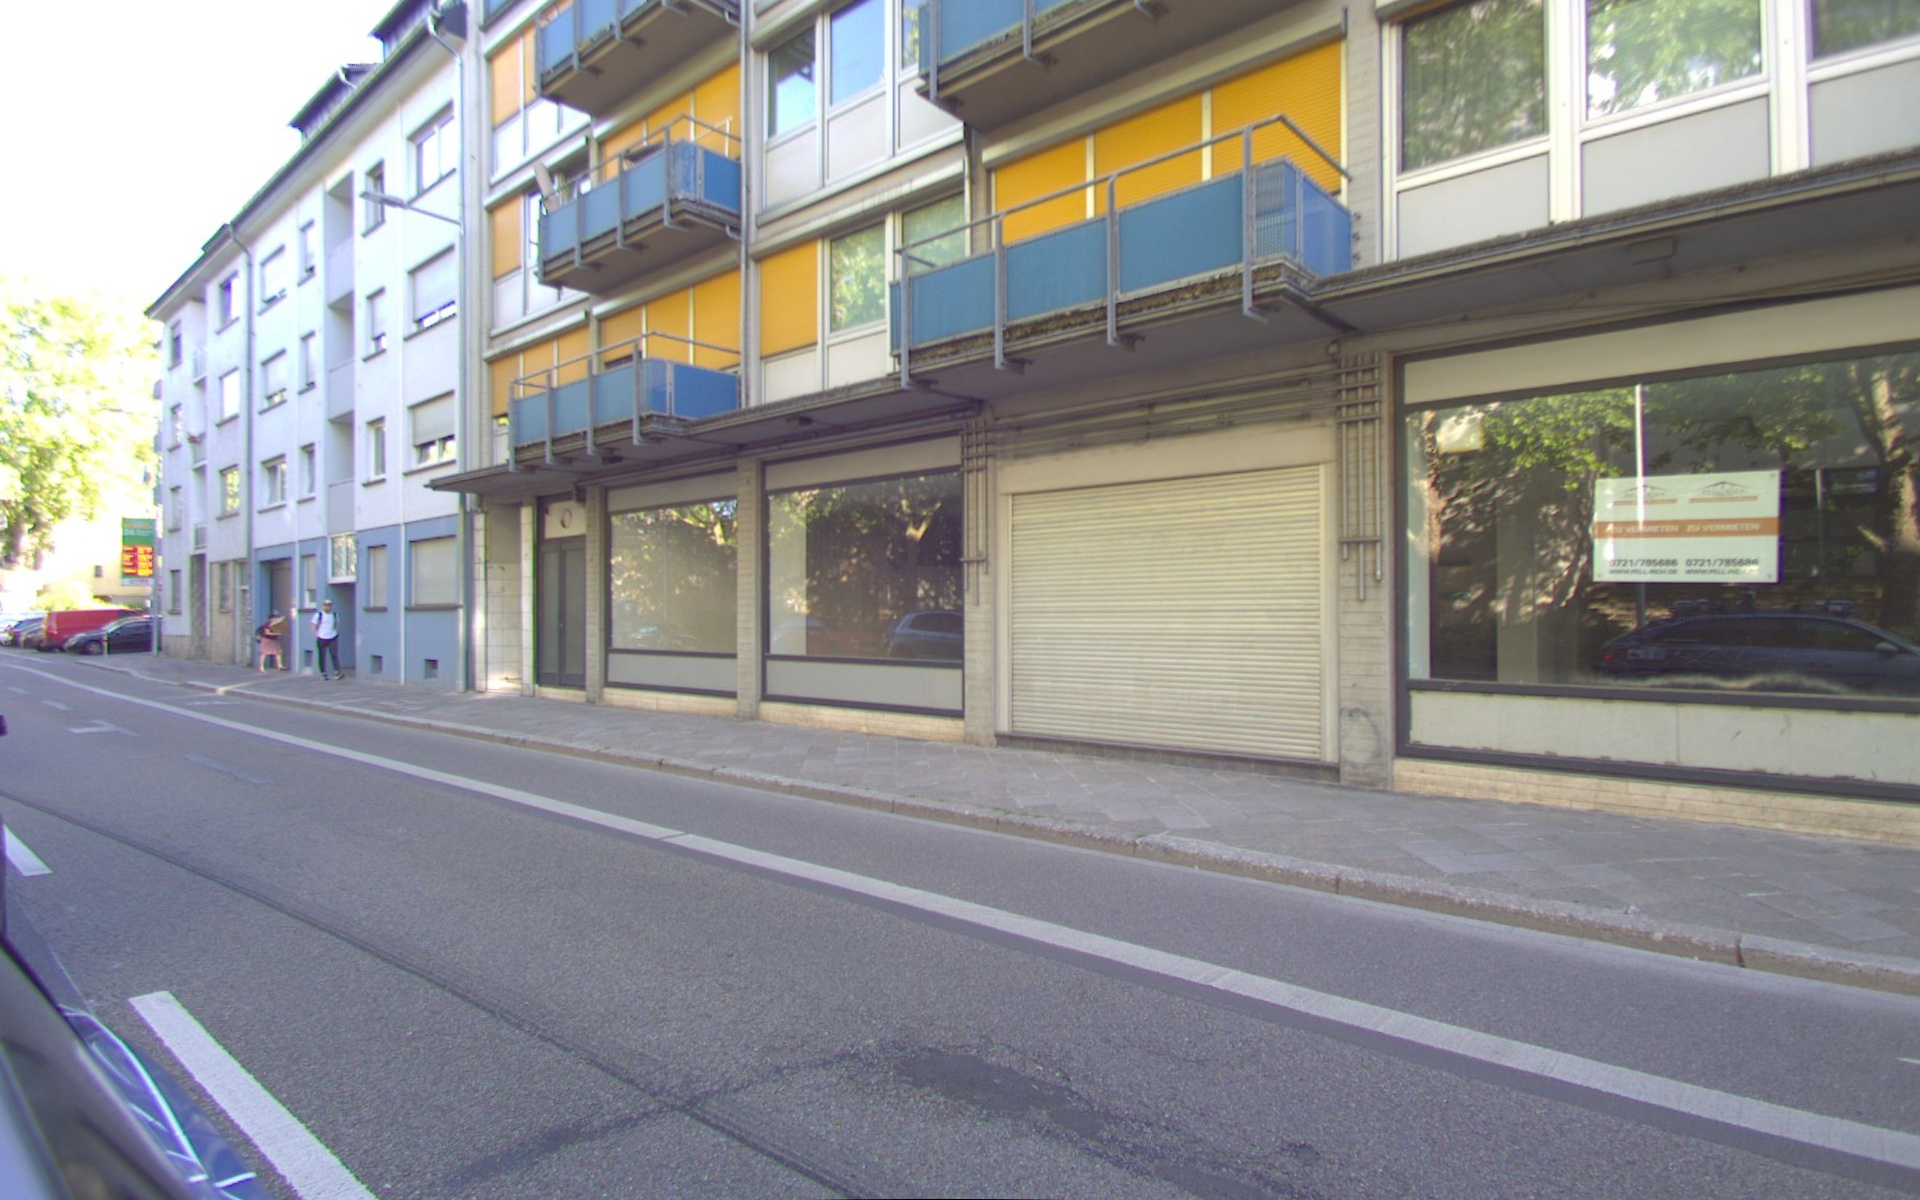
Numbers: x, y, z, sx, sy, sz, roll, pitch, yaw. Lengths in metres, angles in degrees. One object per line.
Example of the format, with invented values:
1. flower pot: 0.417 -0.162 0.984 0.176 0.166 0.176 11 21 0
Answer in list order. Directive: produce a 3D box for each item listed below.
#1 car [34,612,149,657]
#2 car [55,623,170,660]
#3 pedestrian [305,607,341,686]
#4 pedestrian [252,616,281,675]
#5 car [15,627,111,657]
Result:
1. car: -40.610 1.579 47.384 1.635 1.937 3.878 -1 0 41
2. car: -36.671 1.765 43.850 1.635 1.422 3.623 -1 0 41
3. pedestrian: -14.465 1.048 22.982 0.343 1.739 0.562 -2 0 41
4. pedestrian: -18.449 1.214 26.922 0.338 1.529 0.570 -2 0 0
5. car: -43.012 1.997 48.563 1.294 1.258 3.283 -1 0 41
